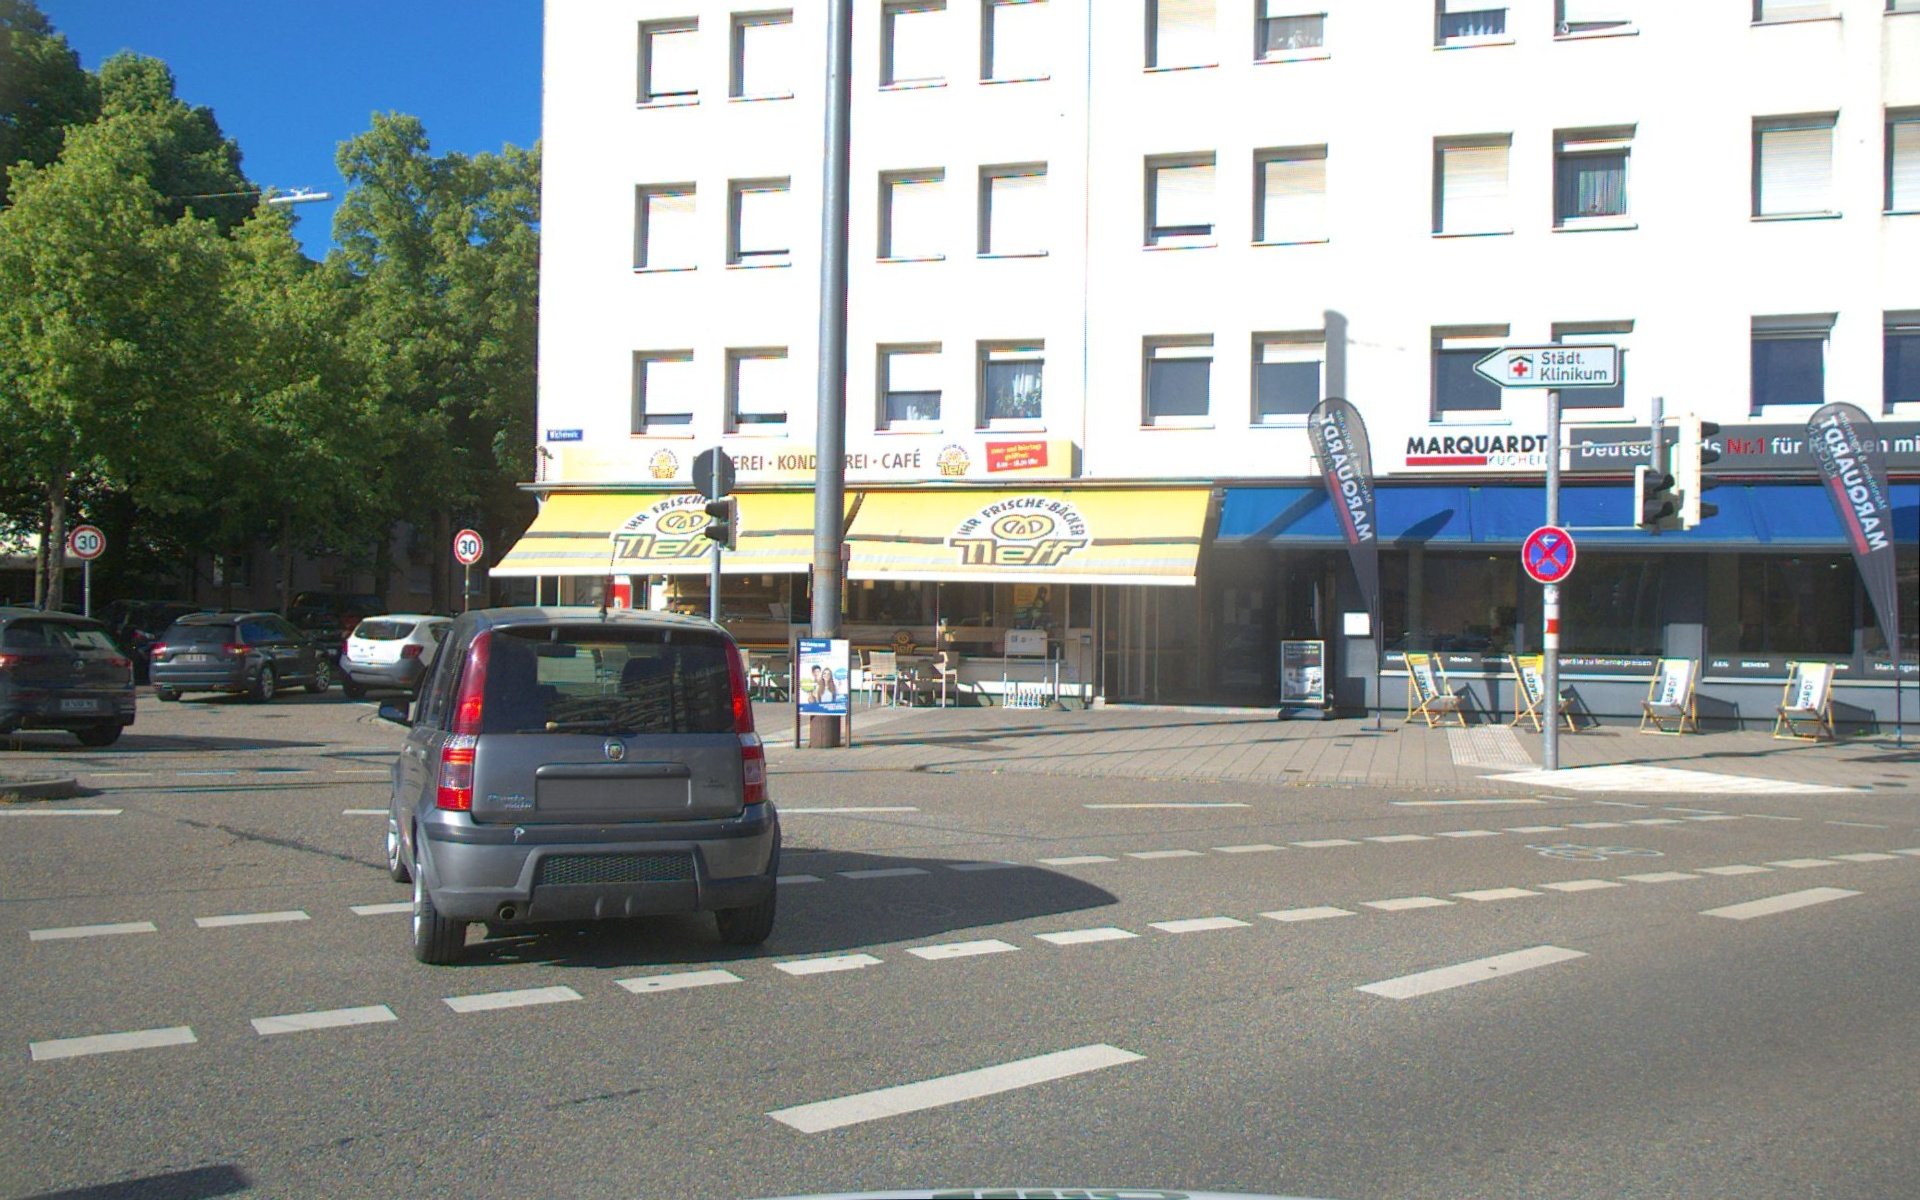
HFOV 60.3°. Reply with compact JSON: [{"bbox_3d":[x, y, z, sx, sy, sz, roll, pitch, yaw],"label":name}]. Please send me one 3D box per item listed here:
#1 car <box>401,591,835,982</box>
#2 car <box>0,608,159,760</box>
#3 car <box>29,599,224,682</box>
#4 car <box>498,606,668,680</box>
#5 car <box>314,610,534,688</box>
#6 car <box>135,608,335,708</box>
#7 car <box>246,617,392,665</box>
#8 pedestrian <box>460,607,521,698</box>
[{"bbox_3d":[-1.880,0.755,8.330,1.636,1.536,3.231,1,-1,-21],"label":"car"},{"bbox_3d":[-10.393,0.816,17.584,3.607,1.454,1.623,1,-1,30],"label":"car"},{"bbox_3d":[-17.117,0.813,34.027,3.225,1.630,1.672,0,-1,12],"label":"car"},{"bbox_3d":[-8.387,0.945,37.134,1.896,1.539,3.940,1,-1,20],"label":"car"},{"bbox_3d":[-9.974,0.883,31.122,1.952,1.333,4.002,1,-1,18],"label":"car"},{"bbox_3d":[-12.646,0.962,29.165,1.712,1.606,4.417,0,0,-2],"label":"car"},{"bbox_3d":[-16.887,1.071,43.579,3.396,1.211,1.651,1,-1,-30],"label":"car"},{"bbox_3d":[-8.621,0.956,30.414,0.774,1.650,0.830,0,-1,11],"label":"pedestrian"}]
